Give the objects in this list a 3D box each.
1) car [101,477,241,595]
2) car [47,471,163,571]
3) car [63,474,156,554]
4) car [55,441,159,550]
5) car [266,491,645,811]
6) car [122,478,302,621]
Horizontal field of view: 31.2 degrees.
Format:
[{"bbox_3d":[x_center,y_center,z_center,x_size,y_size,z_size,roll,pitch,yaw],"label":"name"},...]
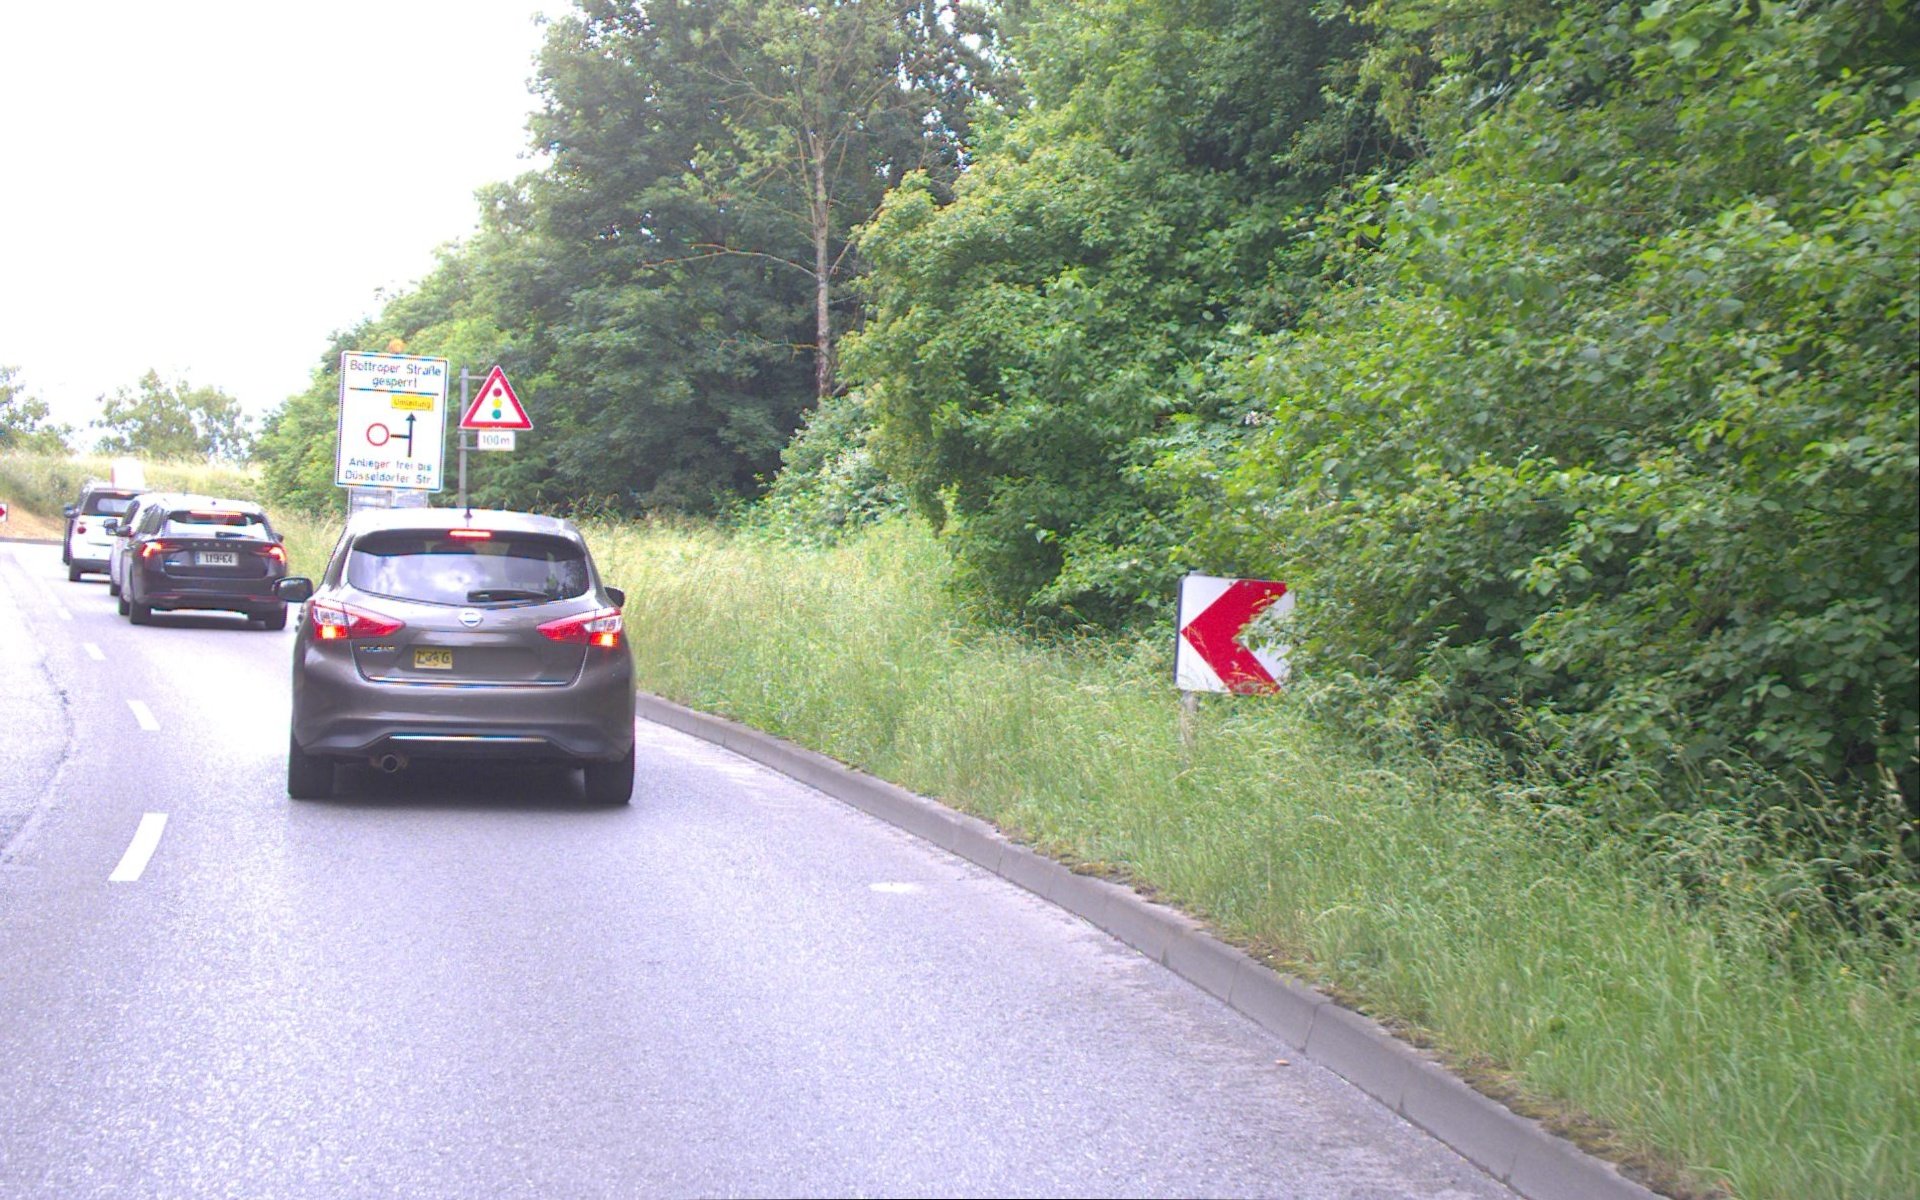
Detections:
[{"bbox_3d":[-11.008,-0.913,47.833,1.735,1.551,3.545,1,2,-15],"label":"car"},{"bbox_3d":[-13.992,-1.316,56.172,1.735,1.551,3.545,1,2,-15],"label":"car"},{"bbox_3d":[-17.053,-1.739,68.848,1.735,1.521,3.545,1,2,-15],"label":"car"},{"bbox_3d":[-15.776,-1.932,63.503,1.735,1.928,3.545,1,2,-16],"label":"car"},{"bbox_3d":[-2.831,0.207,18.715,1.830,1.551,3.500,1,2,-11],"label":"car"},{"bbox_3d":[-8.740,-0.616,39.965,1.829,1.551,3.626,1,2,-15],"label":"car"}]
